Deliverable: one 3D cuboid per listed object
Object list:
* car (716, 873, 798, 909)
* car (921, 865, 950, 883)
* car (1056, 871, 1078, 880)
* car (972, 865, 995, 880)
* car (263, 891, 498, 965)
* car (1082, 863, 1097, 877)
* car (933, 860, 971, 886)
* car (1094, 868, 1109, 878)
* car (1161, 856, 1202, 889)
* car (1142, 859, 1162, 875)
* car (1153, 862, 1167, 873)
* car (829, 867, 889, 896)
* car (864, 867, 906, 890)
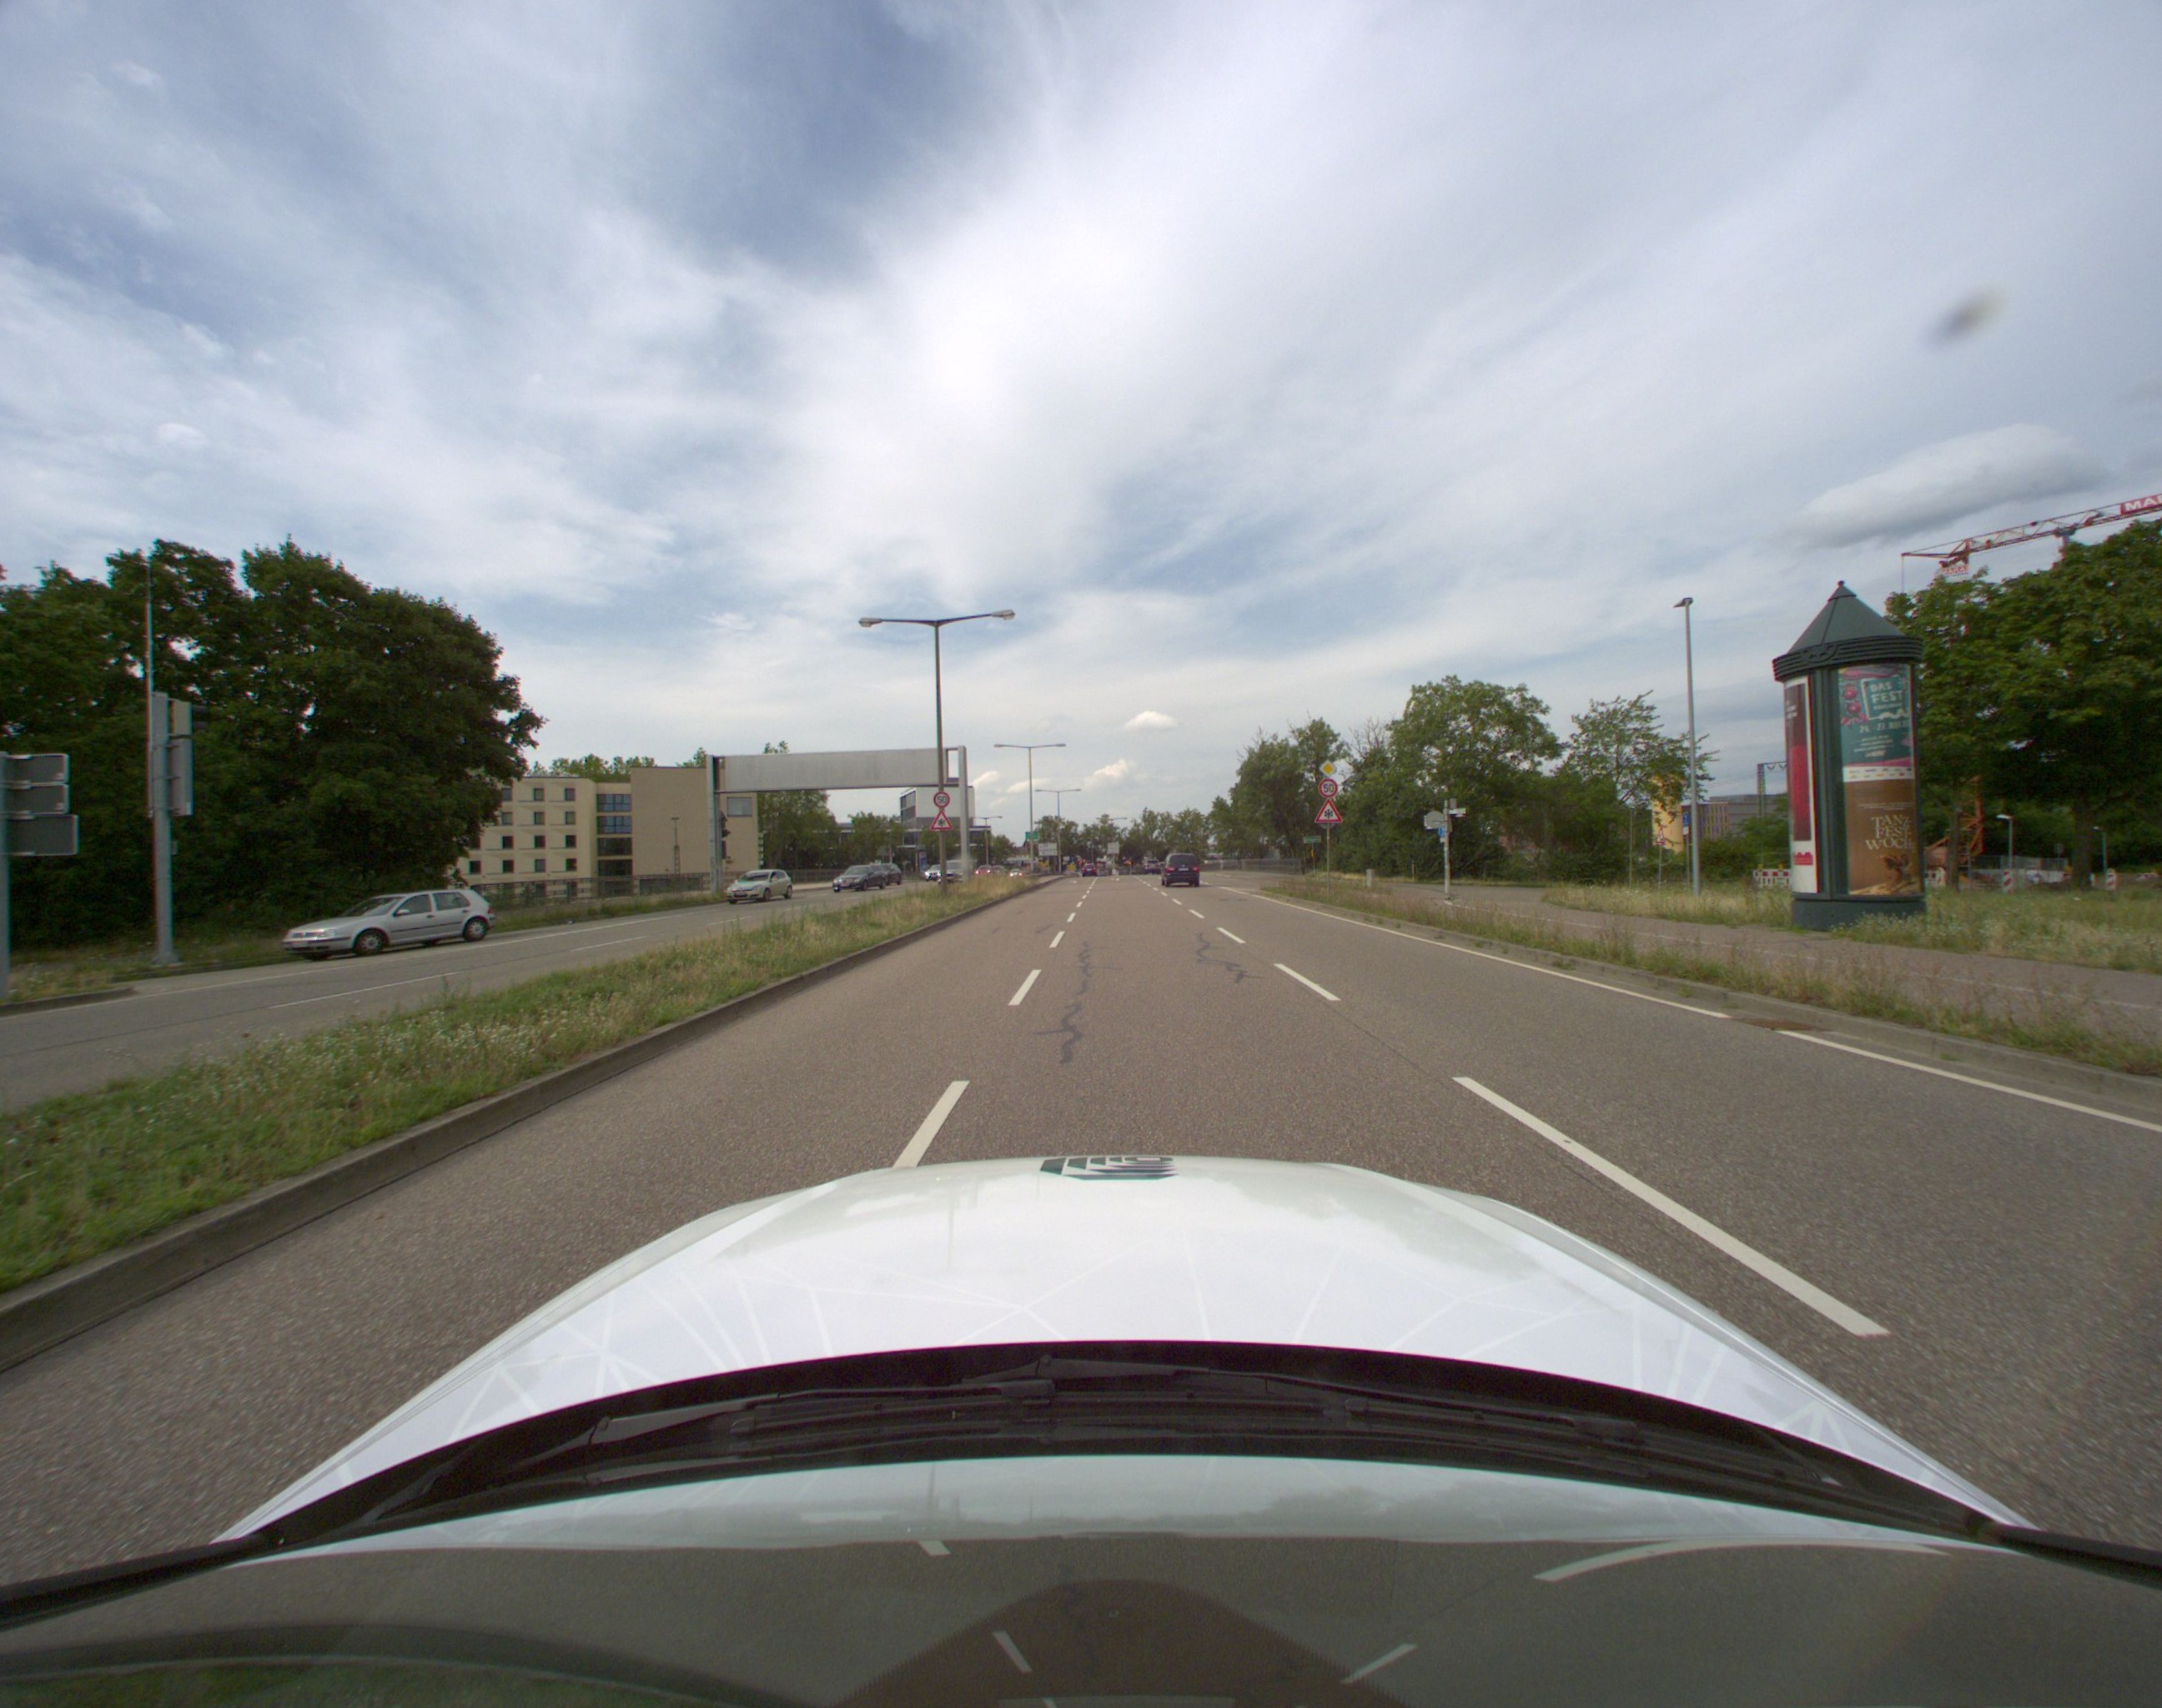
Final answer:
[{"bbox_3d":[-14.821,1.640,37.560,1.658,1.419,4.320,-4,-1,5],"label":"car"},{"bbox_3d":[-13.662,1.832,76.544,1.786,1.525,4.189,-4,-1,1],"label":"car"},{"bbox_3d":[-2.371,3.551,136.751,1.746,1.418,3.588,-1,0,-45],"label":"car"},{"bbox_3d":[-10.220,1.913,85.859,1.786,1.441,3.798,-4,-1,1],"label":"car"},{"bbox_3d":[-16.849,1.726,19.893,1.654,1.419,4.107,-3,-1,14],"label":"car"},{"bbox_3d":[1.070,1.956,99.180,1.725,1.653,4.115,-1,0,1],"label":"car"},{"bbox_3d":[-7.922,1.143,50.452,1.689,1.486,3.860,-2,-1,0],"label":"car"},{"bbox_3d":[3.311,3.107,132.596,1.729,1.526,4.104,-1,0,-8],"label":"car"},{"bbox_3d":[5.246,0.939,42.930,1.725,1.653,4.115,-1,0,1],"label":"car"},{"bbox_3d":[7.550,1.397,86.979,1.725,1.653,4.115,-1,0,1],"label":"car"},{"bbox_3d":[10.116,1.721,104.395,1.502,1.447,3.140,-1,0,0],"label":"car"},{"bbox_3d":[-12.411,1.500,45.878,1.657,1.425,4.526,-4,-1,6],"label":"car"},{"bbox_3d":[-14.156,1.735,59.069,1.786,1.525,4.595,-4,-1,1],"label":"car"}]
